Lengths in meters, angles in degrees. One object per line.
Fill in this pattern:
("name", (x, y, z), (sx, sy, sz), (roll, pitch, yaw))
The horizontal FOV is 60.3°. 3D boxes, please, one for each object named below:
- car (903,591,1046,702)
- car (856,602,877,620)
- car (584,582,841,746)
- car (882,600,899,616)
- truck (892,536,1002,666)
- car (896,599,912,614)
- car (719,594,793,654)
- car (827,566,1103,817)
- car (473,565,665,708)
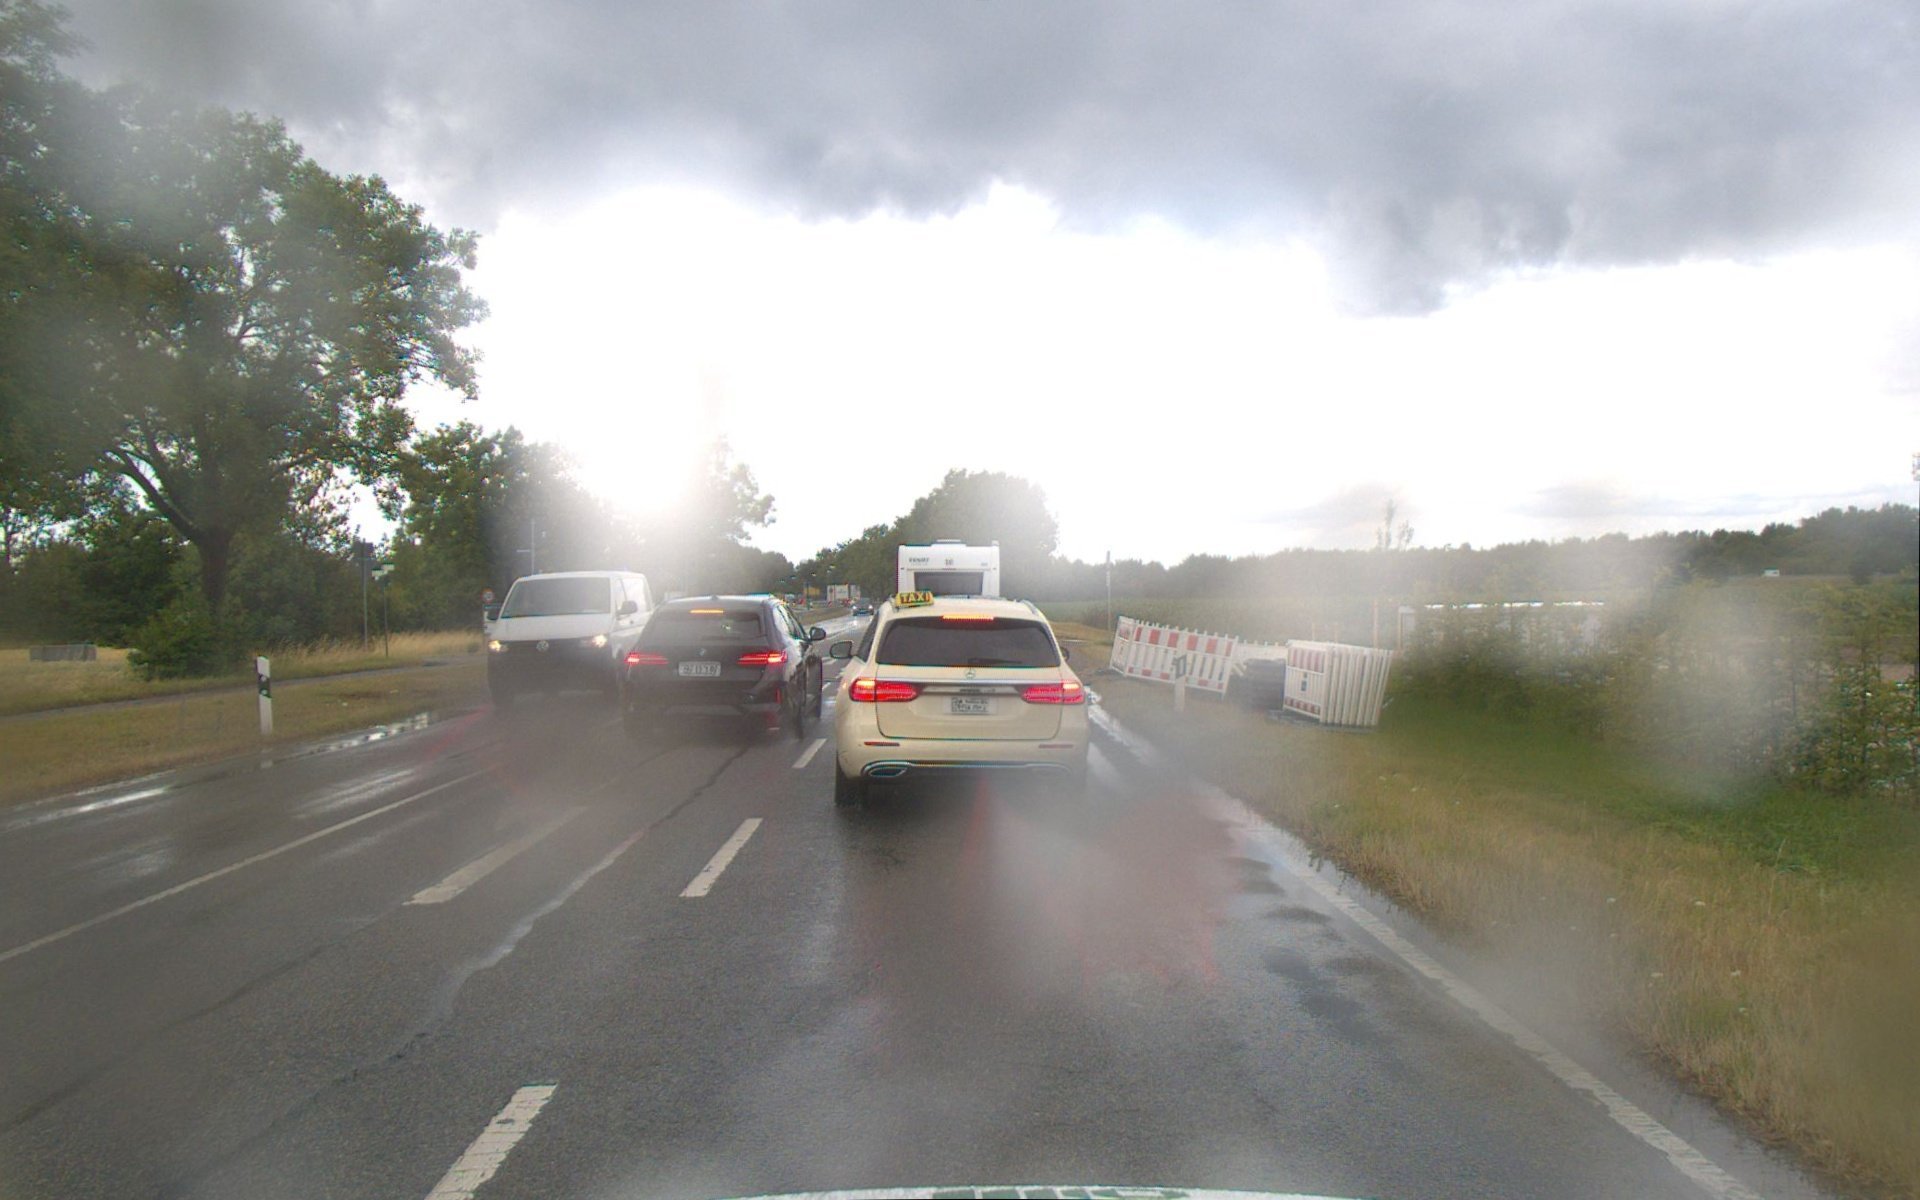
("car", (0.151, 0.648, 24.739), (1.953, 1.488, 3.999), (1, 0, -1))
("car", (-8.057, 0.947, 143.132), (1.685, 1.429, 4.042), (-3, 0, -2))
("car", (-2.586, 0.639, 18.497), (2.255, 1.574, 4.631), (1, 0, -1))
("car", (-8.720, 0.954, 207.372), (1.859, 1.928, 3.840), (-1, 0, -4))
("truck", (-0.365, 0.011, 39.537), (2.316, 2.776, 7.312), (-1, 0, -1))
("car", (-6.182, 0.720, 182.472), (1.648, 1.578, 3.751), (1, 0, -1))
("car", (-6.193, 0.699, 50.582), (1.669, 1.700, 4.155), (-3, 0, 0))
("car", (-0.008, 0.605, 12.850), (1.805, 1.646, 3.999), (0, 0, -1))
("car", (-5.882, 0.517, 25.446), (1.878, 1.894, 4.683), (-3, 0, -2))
